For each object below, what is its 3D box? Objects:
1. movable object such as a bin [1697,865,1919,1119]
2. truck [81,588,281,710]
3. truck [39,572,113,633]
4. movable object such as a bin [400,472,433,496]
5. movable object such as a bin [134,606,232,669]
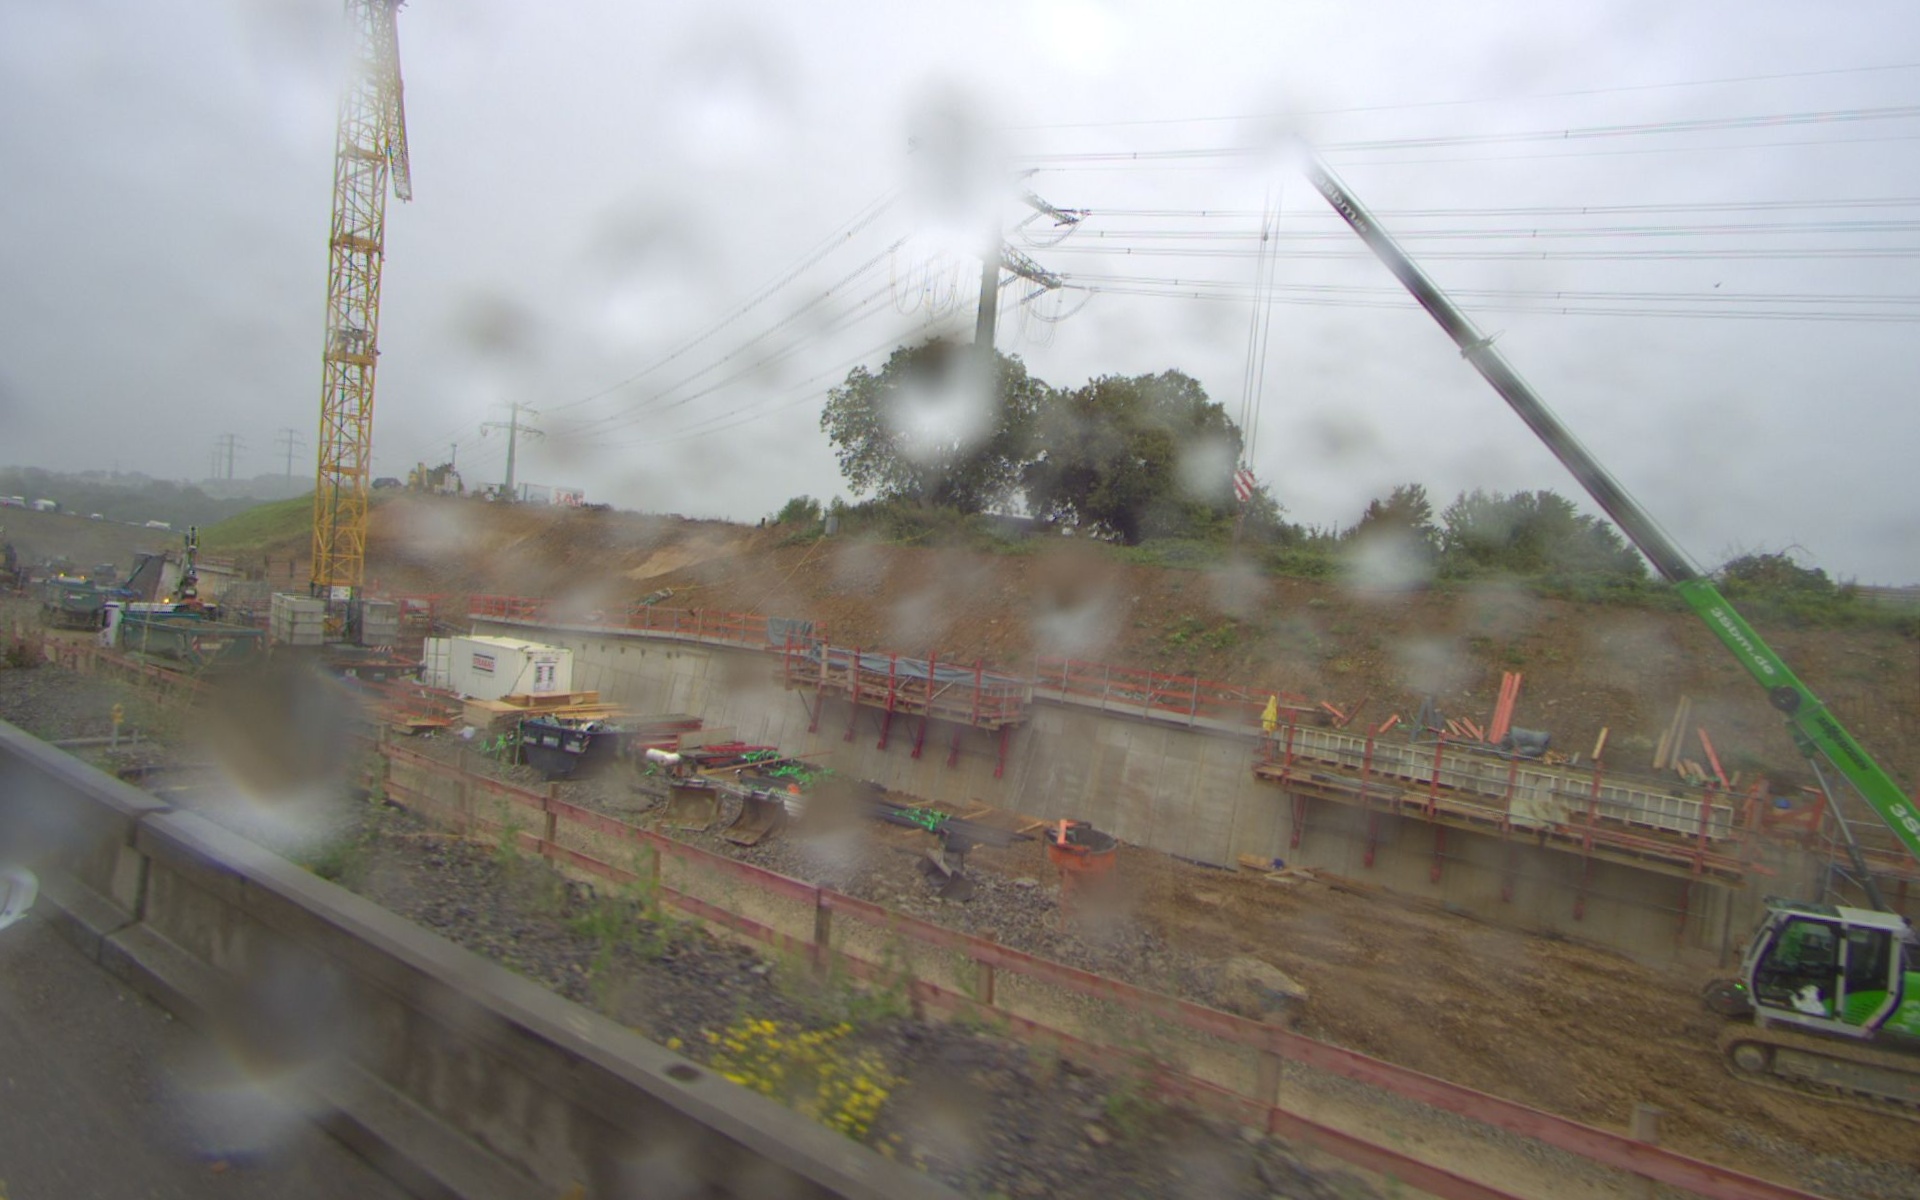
[{"bbox_3d":[15.206,6.358,16.407,4.779,2.836,3.797,0,-4,32],"label":"movable object such as a bin"},{"bbox_3d":[-29.704,1.791,38.207,8.798,3.544,2.705,6,-1,31],"label":"truck"},{"bbox_3d":[-64.393,0.147,73.194,8.940,3.531,2.727,5,-2,42],"label":"truck"},{"bbox_3d":[-68.523,-14.663,126.873,3.916,2.473,2.424,8,0,45],"label":"movable object such as a bin"},{"bbox_3d":[-40.368,1.977,52.311,2.924,2.769,3.151,6,-2,37],"label":"movable object such as a bin"}]
